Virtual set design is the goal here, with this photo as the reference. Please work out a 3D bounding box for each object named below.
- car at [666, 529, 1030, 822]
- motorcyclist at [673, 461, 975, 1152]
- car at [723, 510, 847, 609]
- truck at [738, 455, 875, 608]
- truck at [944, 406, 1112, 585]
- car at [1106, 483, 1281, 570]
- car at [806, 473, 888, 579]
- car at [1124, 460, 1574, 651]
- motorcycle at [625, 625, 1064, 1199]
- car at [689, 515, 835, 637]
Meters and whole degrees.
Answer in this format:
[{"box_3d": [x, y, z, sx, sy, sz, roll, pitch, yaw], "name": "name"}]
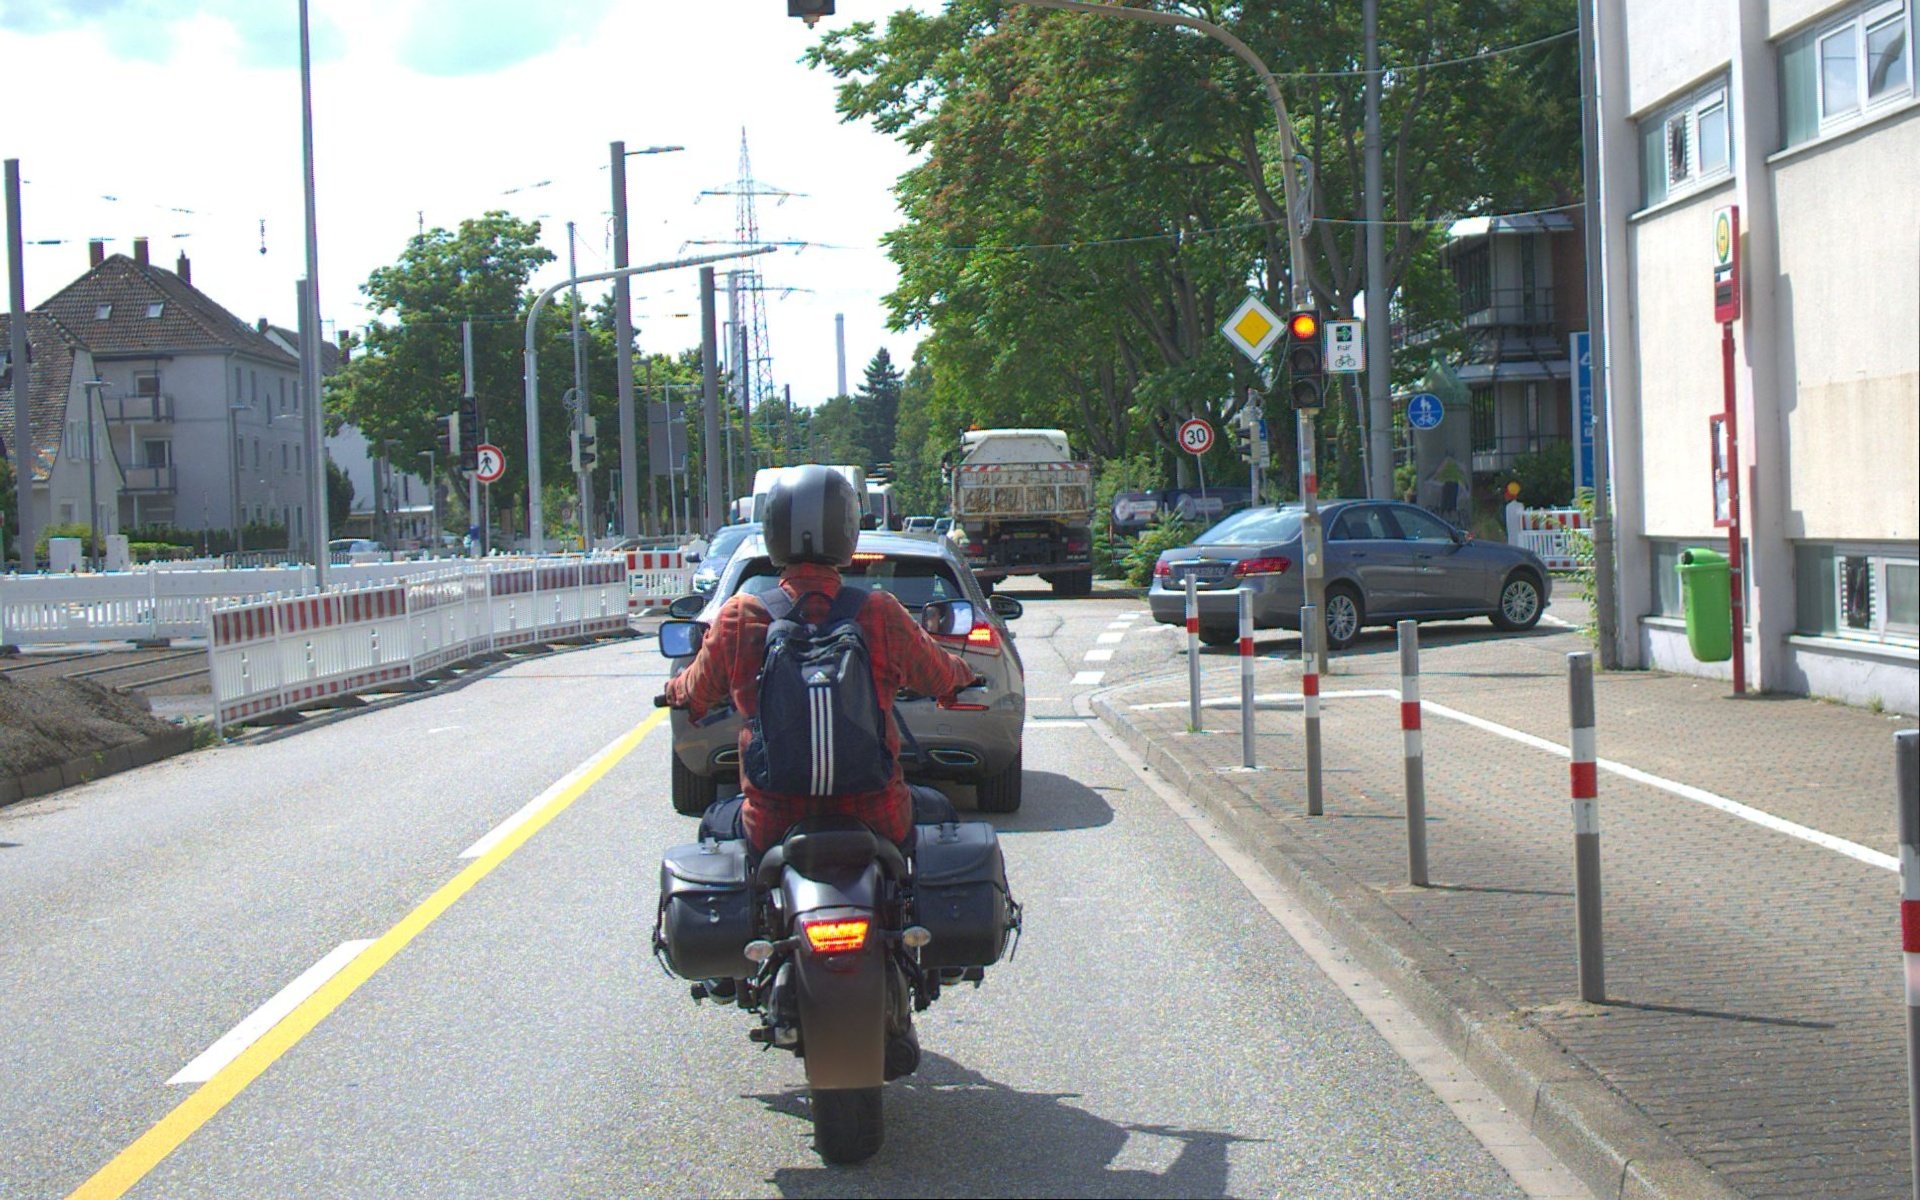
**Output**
[{"box_3d": [-0.713, 0.328, 18.689, 1.731, 1.399, 4.087, 0, 1, -5], "name": "car"}, {"box_3d": [-0.318, 0.474, 8.305, 0.698, 1.599, 0.692, 0, 1, -1], "name": "motorcyclist"}, {"box_3d": [-2.737, -0.645, 54.506, 1.744, 1.432, 4.084, -3, 1, -1], "name": "car"}, {"box_3d": [-2.709, -1.286, 61.720, 2.093, 2.468, 5.197, -3, 3, 0], "name": "truck"}, {"box_3d": [1.332, -1.913, 64.845, 2.967, 3.162, 7.764, 0, 1, 2], "name": "truck"}, {"box_3d": [5.324, -1.650, 78.040, 1.802, 1.919, 3.989, 1, 1, 45], "name": "car"}, {"box_3d": [-2.338, -1.528, 71.633, 1.589, 2.135, 3.627, 0, 1, 0], "name": "car"}, {"box_3d": [4.063, -0.500, 35.402, 4.706, 1.706, 1.906, -4, 3, -42], "name": "car"}, {"box_3d": [-0.265, 0.705, 8.644, 0.942, 1.196, 2.473, 0, 2, -1], "name": "motorcycle"}, {"box_3d": [-2.611, -0.362, 46.103, 1.645, 1.493, 4.269, -1, 2, 1], "name": "car"}]
